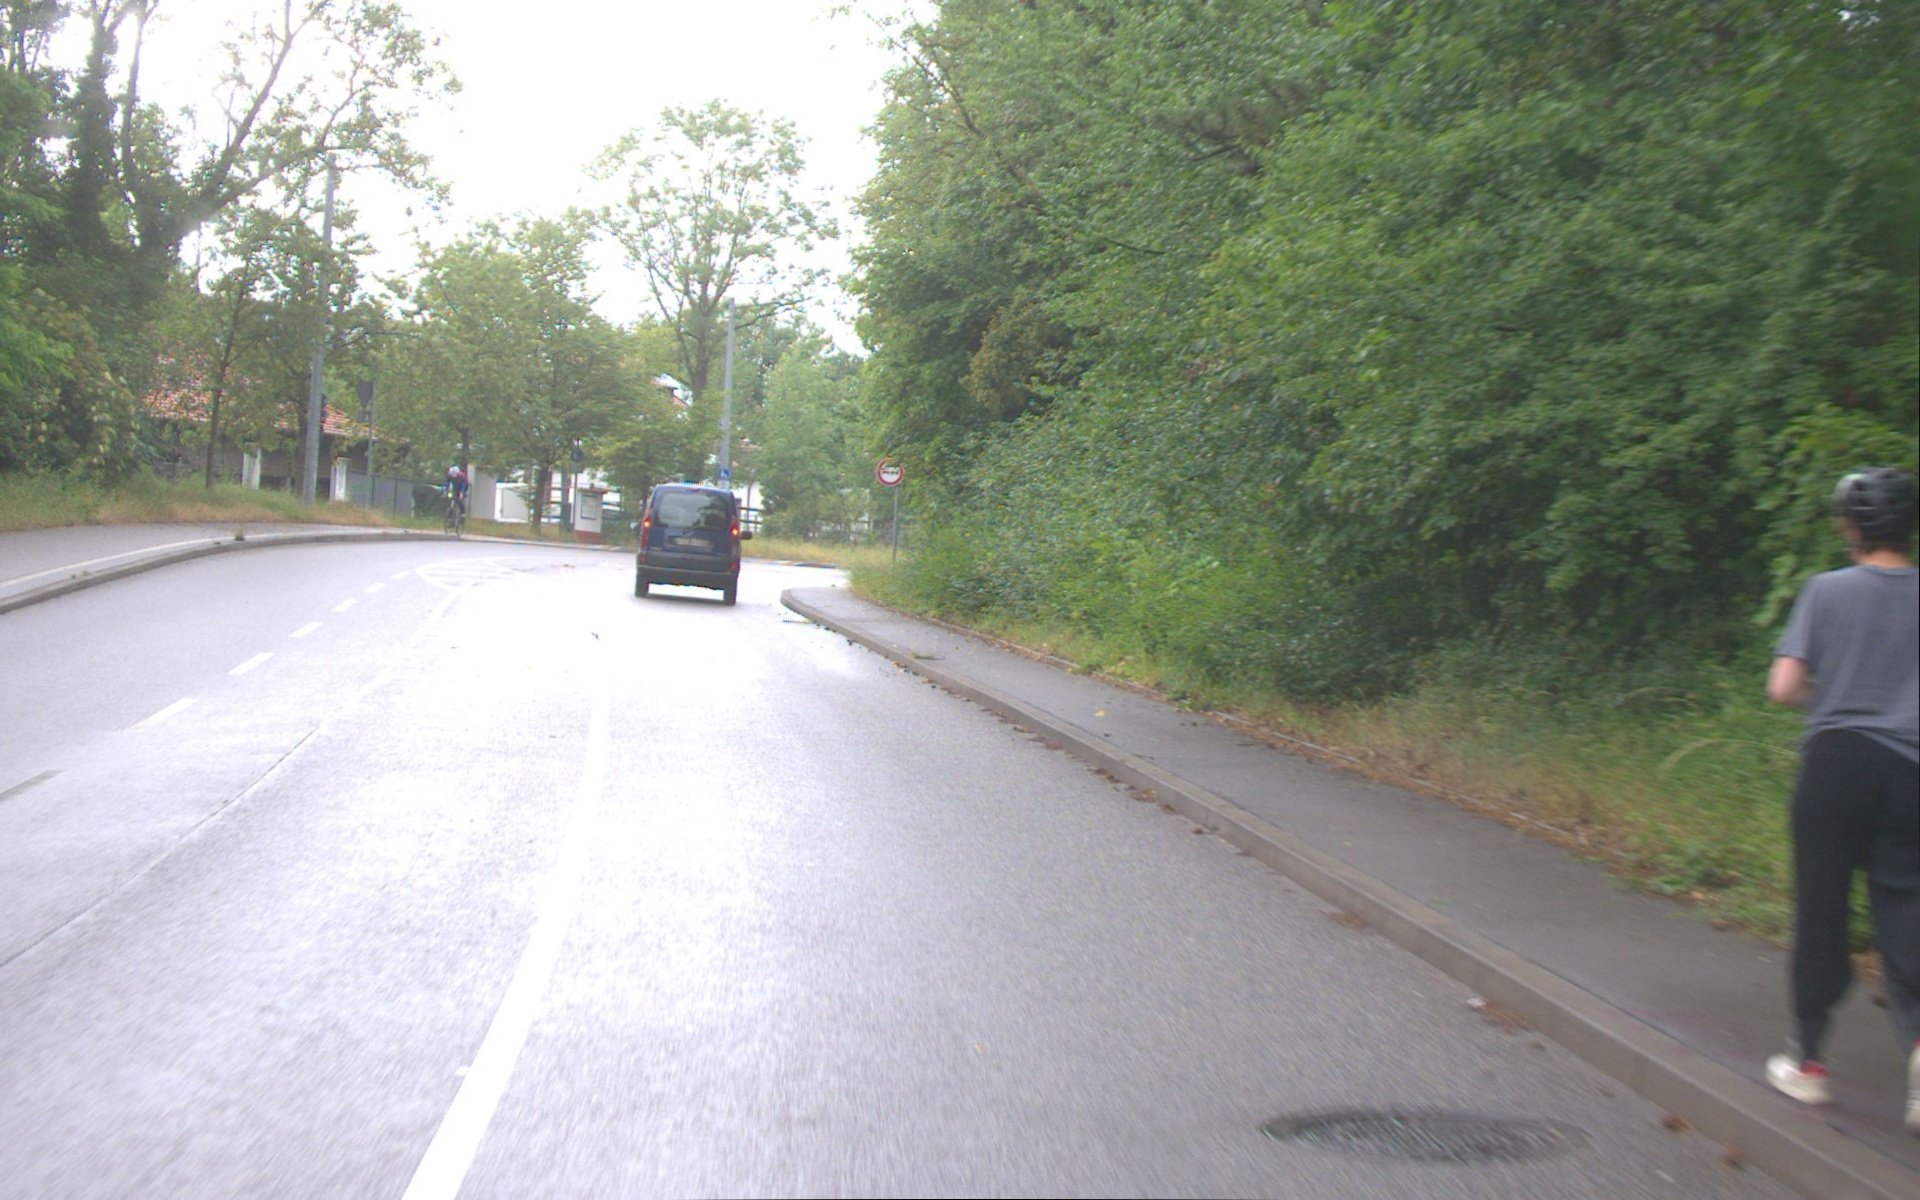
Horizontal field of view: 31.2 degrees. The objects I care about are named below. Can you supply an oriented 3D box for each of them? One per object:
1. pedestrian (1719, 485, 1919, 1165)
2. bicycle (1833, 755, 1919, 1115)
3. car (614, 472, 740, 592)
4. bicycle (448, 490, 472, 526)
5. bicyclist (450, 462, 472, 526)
[{"bbox_3d":[2.237,0.533,8.371,0.564,1.572,0.770,1,-2,-2],"label":"pedestrian"},{"bbox_3d":[2.581,0.868,8.419,0.355,0.846,1.743,-1,2,-3],"label":"bicycle"},{"bbox_3d":[-4.590,-1.056,55.348,1.826,1.788,4.001,1,-1,-7],"label":"car"},{"bbox_3d":[-12.473,-2.306,85.788,0.355,0.846,2.094,3,2,-3],"label":"bicycle"},{"bbox_3d":[-12.454,-2.658,85.763,0.336,1.569,1.298,2,2,-2],"label":"bicyclist"}]
